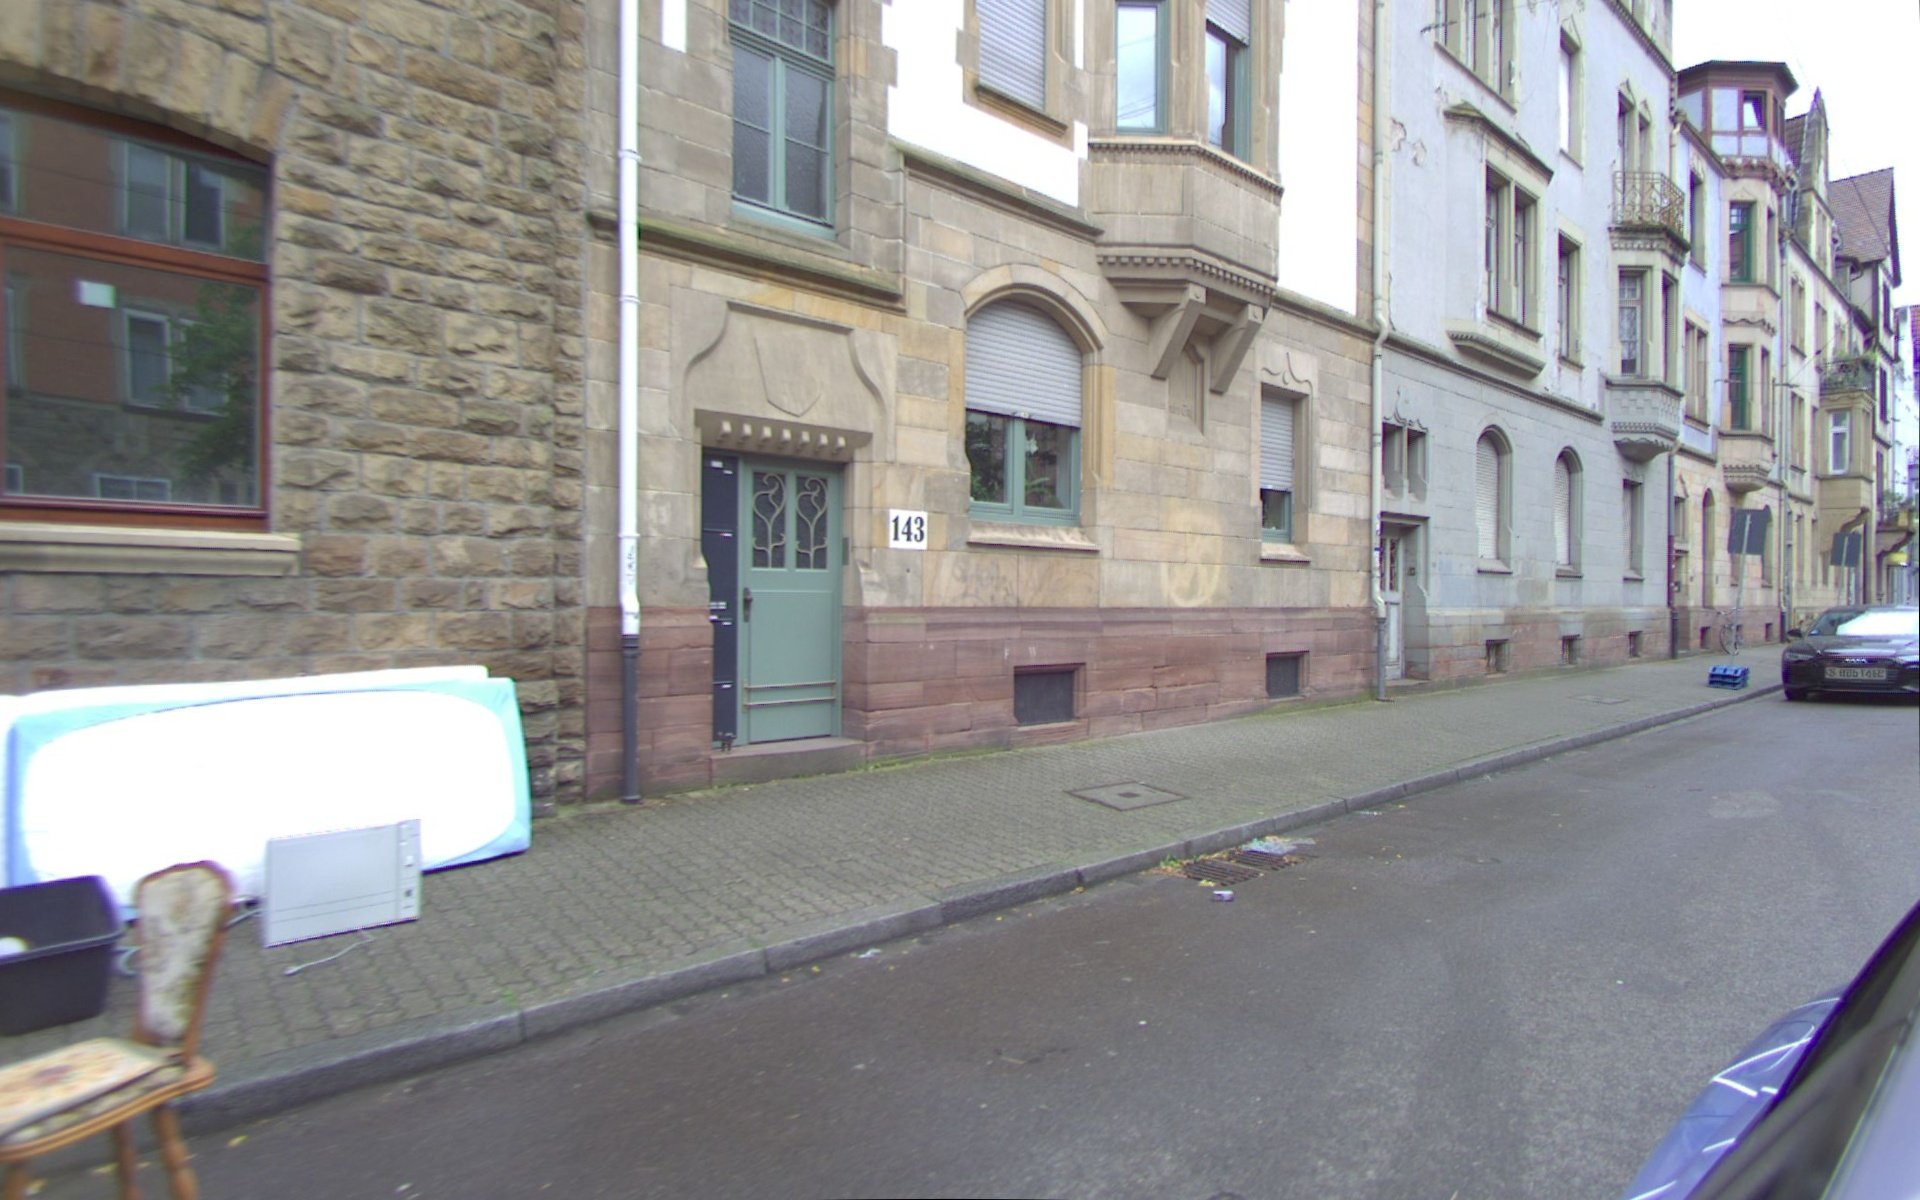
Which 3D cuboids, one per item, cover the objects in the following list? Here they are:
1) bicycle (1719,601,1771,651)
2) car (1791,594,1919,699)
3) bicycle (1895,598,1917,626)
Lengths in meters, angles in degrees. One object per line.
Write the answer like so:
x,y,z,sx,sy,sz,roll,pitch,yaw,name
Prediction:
18.834,0.605,24.263,1.883,1.141,0.612,0,-3,-42,bicycle
14.873,0.642,16.074,5.105,1.456,1.803,0,0,-42,car
38.962,0.495,41.685,1.560,1.111,0.422,0,5,-41,bicycle
